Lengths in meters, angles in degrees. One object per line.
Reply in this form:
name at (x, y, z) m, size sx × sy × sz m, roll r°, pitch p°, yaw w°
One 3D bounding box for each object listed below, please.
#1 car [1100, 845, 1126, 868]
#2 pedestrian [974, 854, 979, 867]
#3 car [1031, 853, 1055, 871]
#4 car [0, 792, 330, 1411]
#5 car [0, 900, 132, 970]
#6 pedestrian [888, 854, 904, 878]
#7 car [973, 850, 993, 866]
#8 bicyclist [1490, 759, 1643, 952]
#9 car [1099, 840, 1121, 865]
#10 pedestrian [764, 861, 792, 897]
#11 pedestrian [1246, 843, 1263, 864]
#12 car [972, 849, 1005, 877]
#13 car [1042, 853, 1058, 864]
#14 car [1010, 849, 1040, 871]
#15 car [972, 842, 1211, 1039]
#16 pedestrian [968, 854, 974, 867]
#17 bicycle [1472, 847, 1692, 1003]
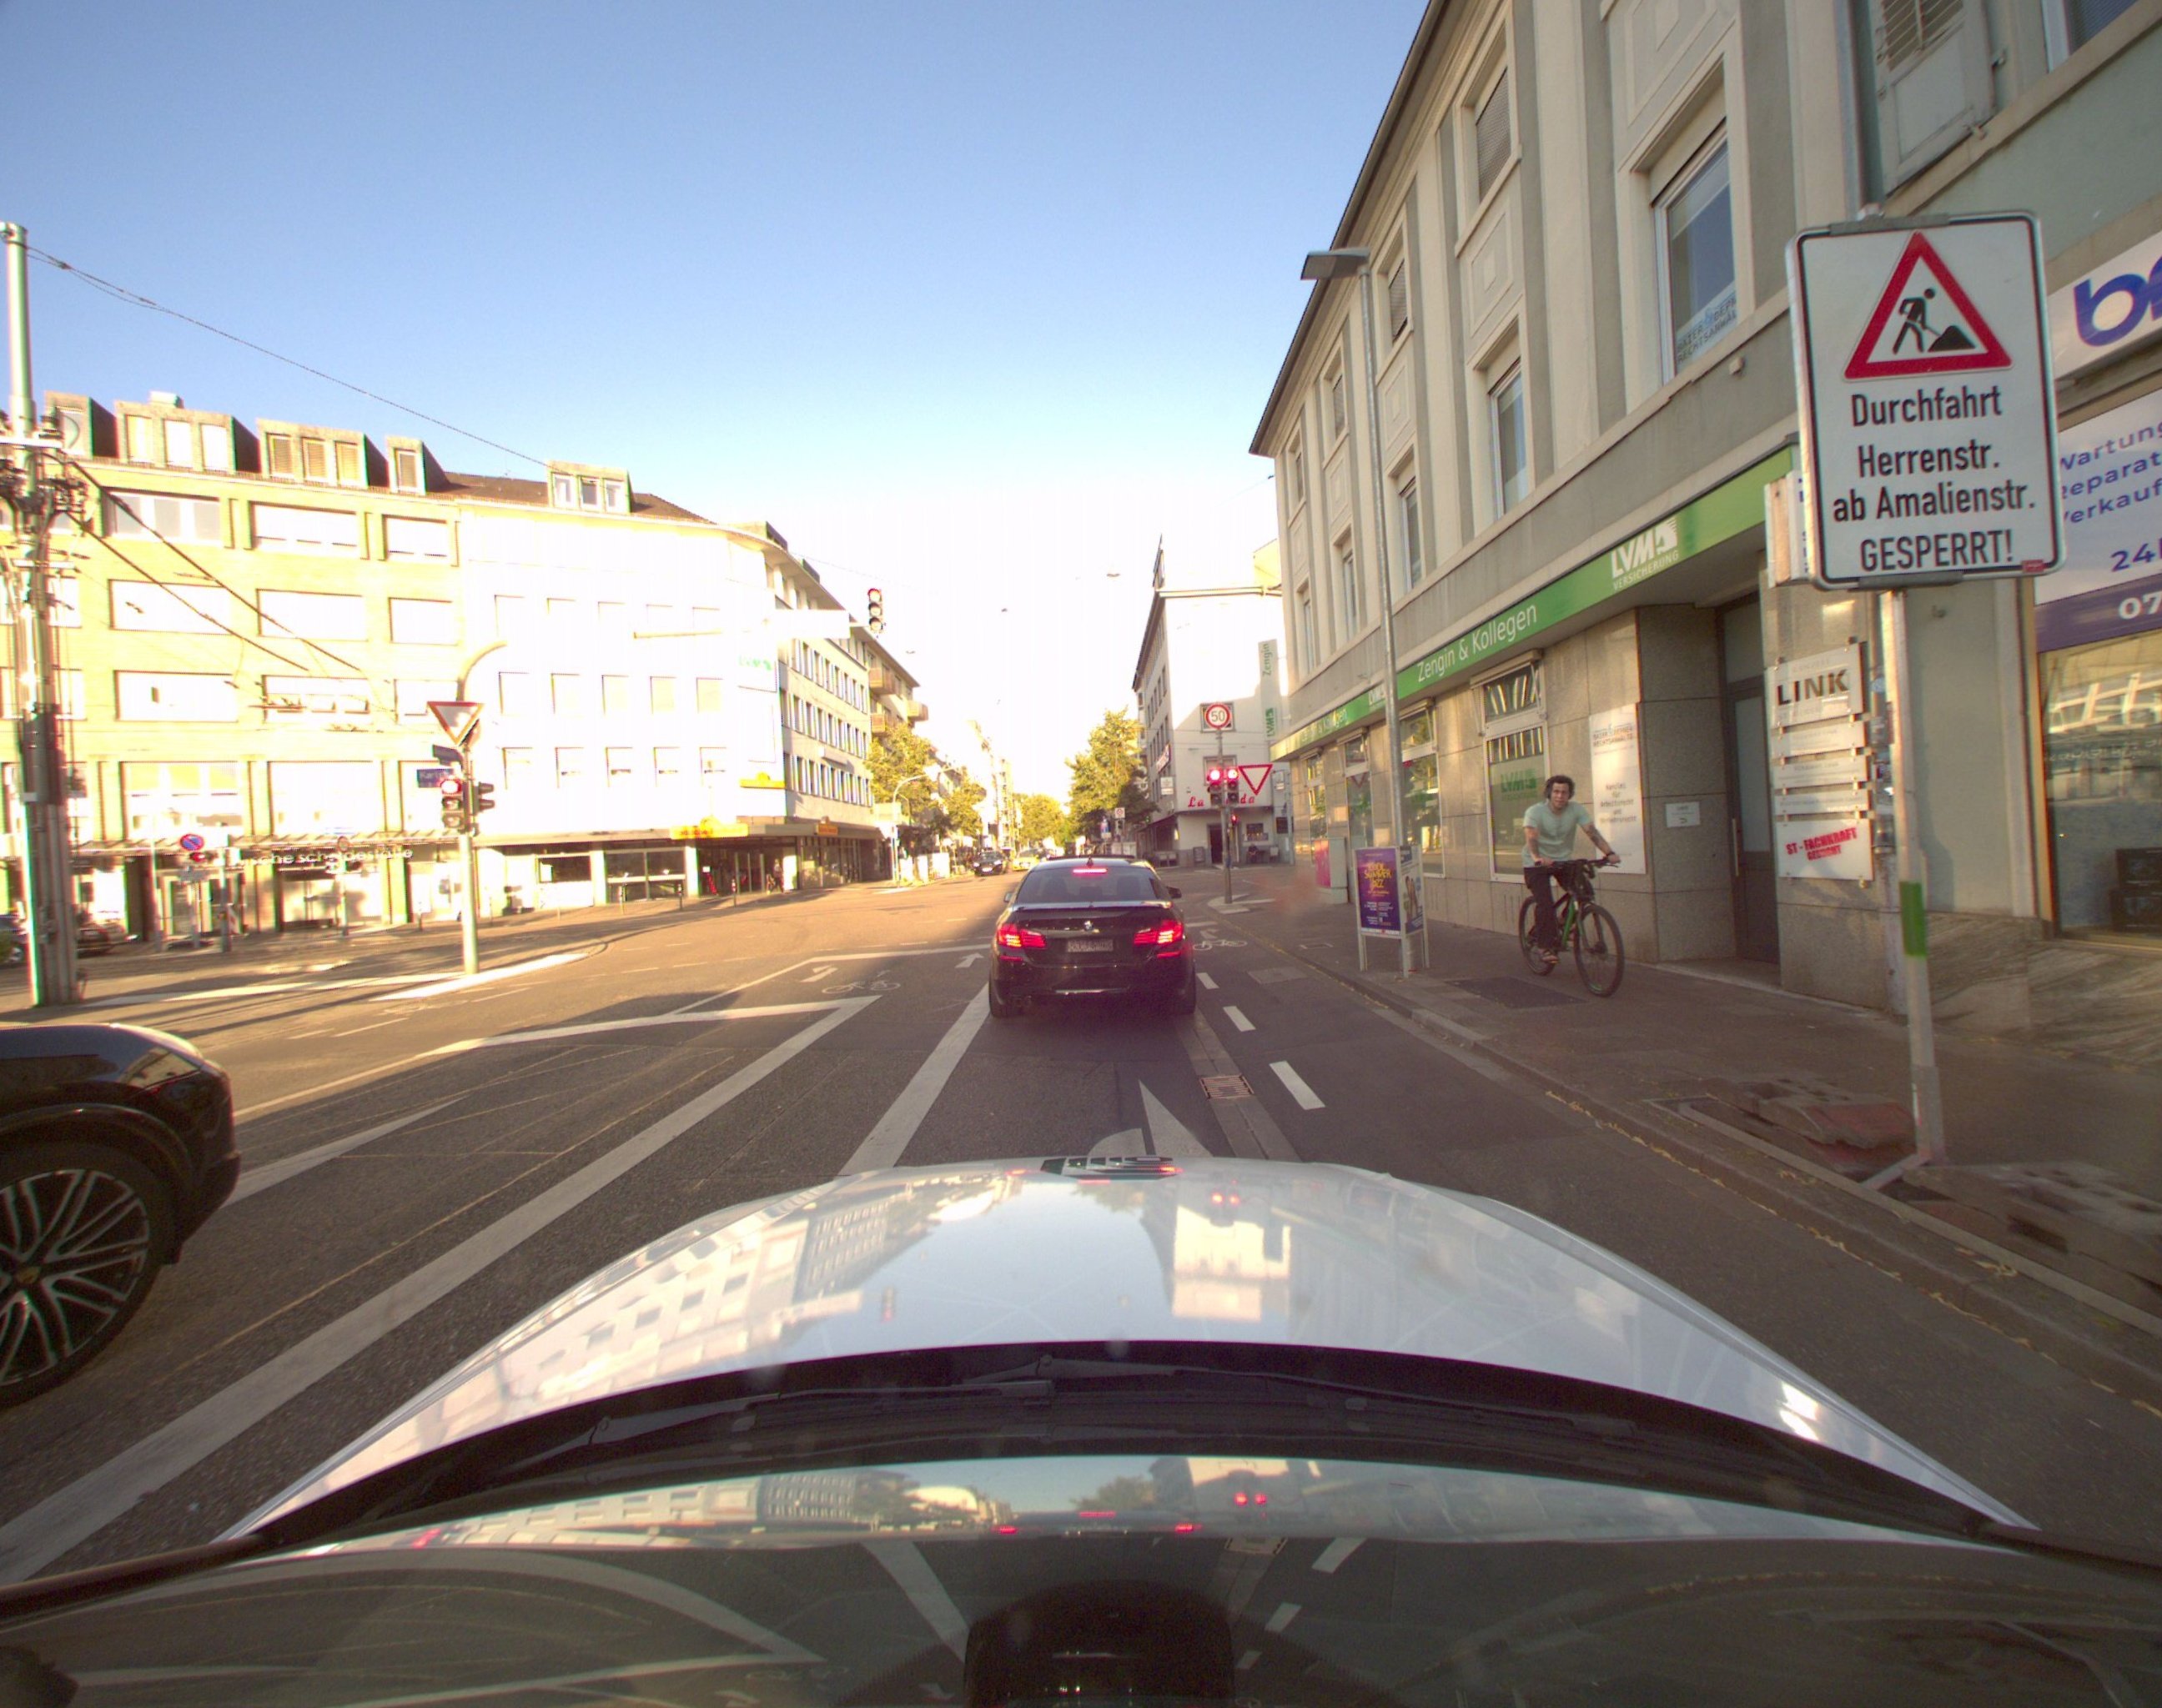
car at (2.152, 0.150, 55.721) m, size 1.620 × 1.471 × 3.394 m, roll -2°, pitch 0°, yaw 0°
pedestrian at (-11.886, 0.706, 92.770) m, size 0.443 × 1.416 × 0.525 m, roll -3°, pitch 0°, yaw -2°
car at (-3.120, 0.627, 65.700) m, size 1.731 × 1.293 × 3.993 m, roll -3°, pitch 0°, yaw -5°
car at (-4.017, 0.757, 0.925) m, size 1.942 × 1.714 × 4.562 m, roll -4°, pitch 1°, yaw 1°
car at (-28.806, 2.220, 21.507) m, size 4.450 × 1.595 × 1.866 m, roll -3°, pitch 0°, yaw -20°
pedestrian at (-12.962, 0.831, 57.046) m, size 0.821 × 1.676 × 0.871 m, roll -3°, pitch 0°, yaw -1°
car at (-9.698, 0.410, 80.445) m, size 1.731 × 1.461 × 3.993 m, roll -3°, pitch 0°, yaw -5°
bicyclist at (4.124, 0.010, 6.992) m, size 0.719 × 1.507 × 0.900 m, roll -3°, pitch 0°, yaw 2°
car at (2.180, -0.103, 62.125) m, size 1.417 × 1.854 × 3.050 m, roll -2°, pitch 0°, yaw -2°
pedestrian at (-13.480, 1.101, 36.268) m, size 0.952 × 1.537 × 0.899 m, roll -3°, pitch 0°, yaw -31°
pedestrian at (10.058, -0.044, 47.232) m, size 0.695 × 1.157 × 0.843 m, roll -3°, pitch 0°, yaw -1°
car at (-6.054, 0.559, 53.544) m, size 1.990 × 1.618 × 3.993 m, roll -3°, pitch 0°, yaw -5°
car at (-3.889, 0.536, 100.959) m, size 1.731 × 1.293 × 3.993 m, roll -3°, pitch 0°, yaw -5°
car at (-4.105, 0.421, 58.947) m, size 1.990 × 1.442 × 3.993 m, roll -3°, pitch 0°, yaw -5°
car at (0.074, 0.675, 8.763) m, size 1.898 × 1.540 × 4.448 m, roll -1°, pitch 0°, yaw -1°
pedestrian at (-12.391, 0.737, 91.765) m, size 0.443 × 1.416 × 0.525 m, roll -3°, pitch 0°, yaw -2°
bicycle at (4.146, 0.519, 6.945) m, size 0.688 × 1.107 × 1.896 m, roll -3°, pitch 0°, yaw 1°
